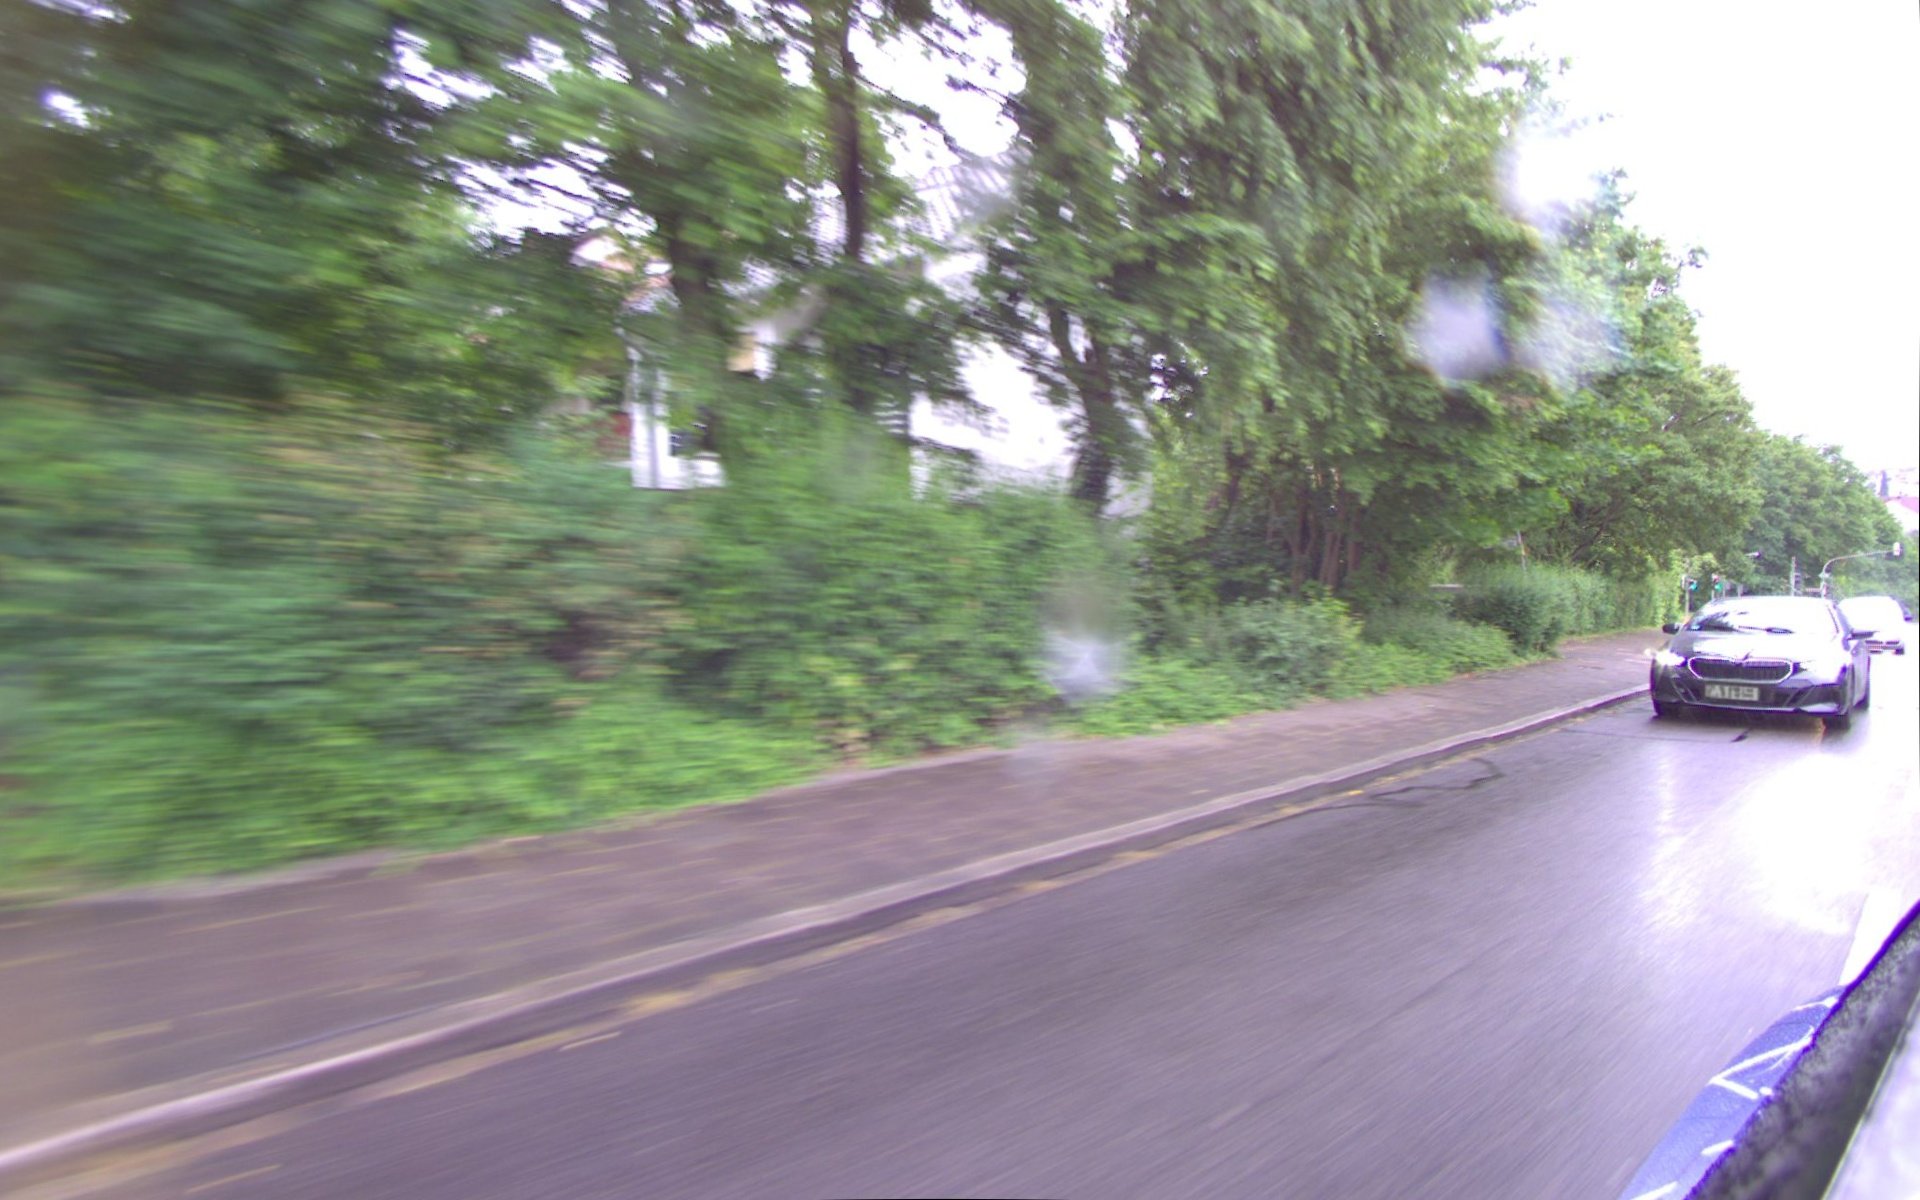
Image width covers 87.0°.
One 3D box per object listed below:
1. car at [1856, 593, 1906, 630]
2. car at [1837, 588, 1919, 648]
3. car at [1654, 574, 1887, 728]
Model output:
[{"bbox_3d":[49.036,0.604,53.855,1.810,1.830,4.054,3,2,44],"label":"car"},{"bbox_3d":[26.775,0.492,29.298,1.811,1.575,4.053,3,2,44],"label":"car"},{"bbox_3d":[10.298,0.508,12.748,1.864,1.575,4.054,3,2,44],"label":"car"}]
